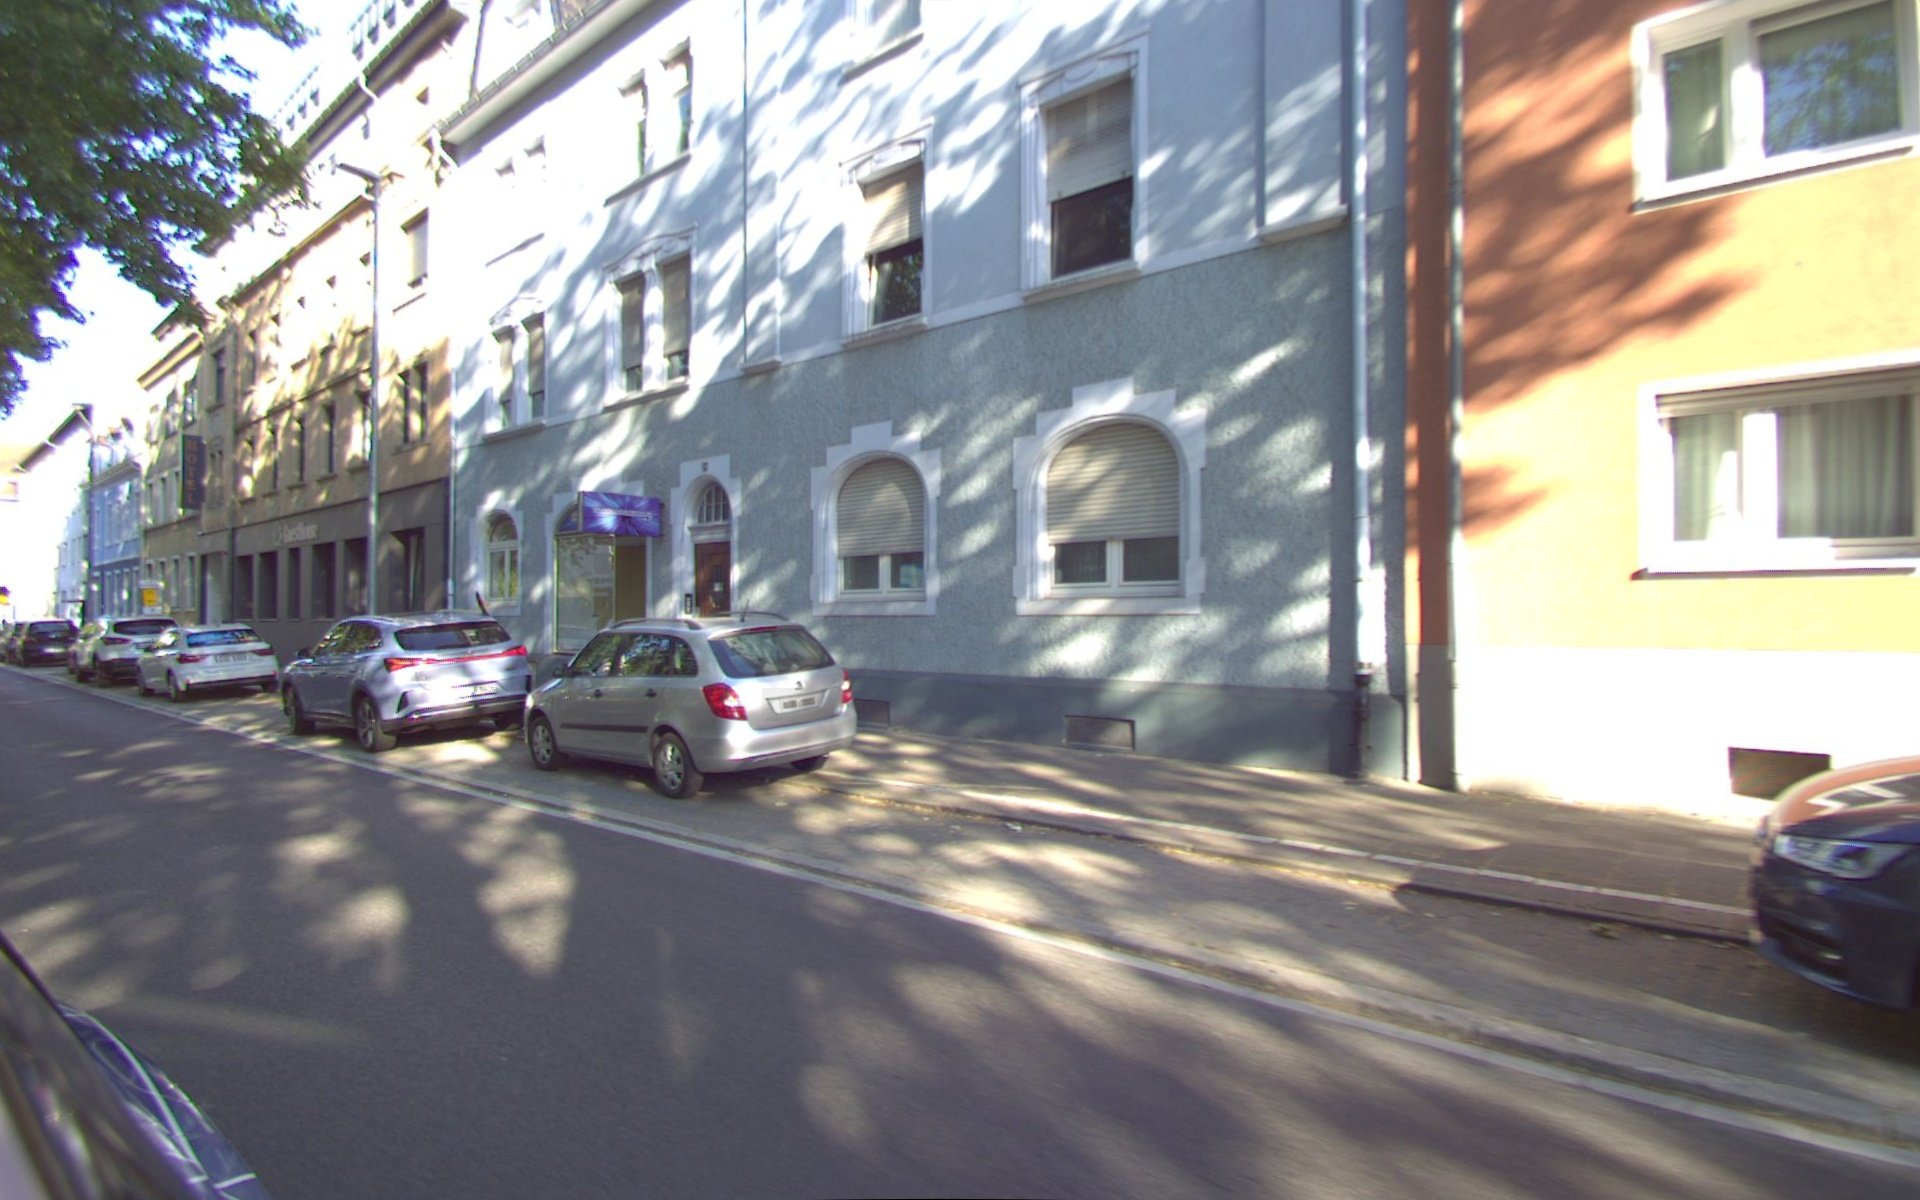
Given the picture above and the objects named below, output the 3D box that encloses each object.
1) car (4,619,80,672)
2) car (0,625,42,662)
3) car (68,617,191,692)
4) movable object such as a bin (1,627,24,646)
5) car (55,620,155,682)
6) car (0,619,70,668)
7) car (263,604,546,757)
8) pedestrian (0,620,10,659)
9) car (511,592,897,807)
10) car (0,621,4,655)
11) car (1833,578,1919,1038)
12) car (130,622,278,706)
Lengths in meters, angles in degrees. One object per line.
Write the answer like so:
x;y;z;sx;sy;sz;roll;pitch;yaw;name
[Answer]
-30.922;1.487;34.063;3.706;1.617;1.659;-1;0;44;car
-41.436;1.869;44.058;4.259;1.498;1.633;-1;0;40;car
-19.847;1.230;24.120;4.199;1.597;1.660;-1;0;42;car
-64.822;2.474;69.229;1.018;1.296;1.064;2;-2;-37;movable object such as a bin
-24.277;1.404;28.702;3.755;1.604;1.660;-1;0;42;car
-34.462;1.579;37.487;4.155;1.685;1.763;-1;0;42;car
-7.487;0.935;13.423;4.576;1.654;1.888;-1;0;42;car
-39.240;1.622;41.132;0.706;1.582;0.853;-2;-2;44;pedestrian
-2.605;0.797;9.763;3.983;1.654;1.660;-1;0;42;car
-49.155;1.910;50.561;4.495;1.685;1.884;-1;0;45;car
4.873;0.639;2.862;3.599;1.497;1.660;-1;0;41;car
-15.361;1.223;20.495;3.870;1.507;1.660;-1;0;42;car
